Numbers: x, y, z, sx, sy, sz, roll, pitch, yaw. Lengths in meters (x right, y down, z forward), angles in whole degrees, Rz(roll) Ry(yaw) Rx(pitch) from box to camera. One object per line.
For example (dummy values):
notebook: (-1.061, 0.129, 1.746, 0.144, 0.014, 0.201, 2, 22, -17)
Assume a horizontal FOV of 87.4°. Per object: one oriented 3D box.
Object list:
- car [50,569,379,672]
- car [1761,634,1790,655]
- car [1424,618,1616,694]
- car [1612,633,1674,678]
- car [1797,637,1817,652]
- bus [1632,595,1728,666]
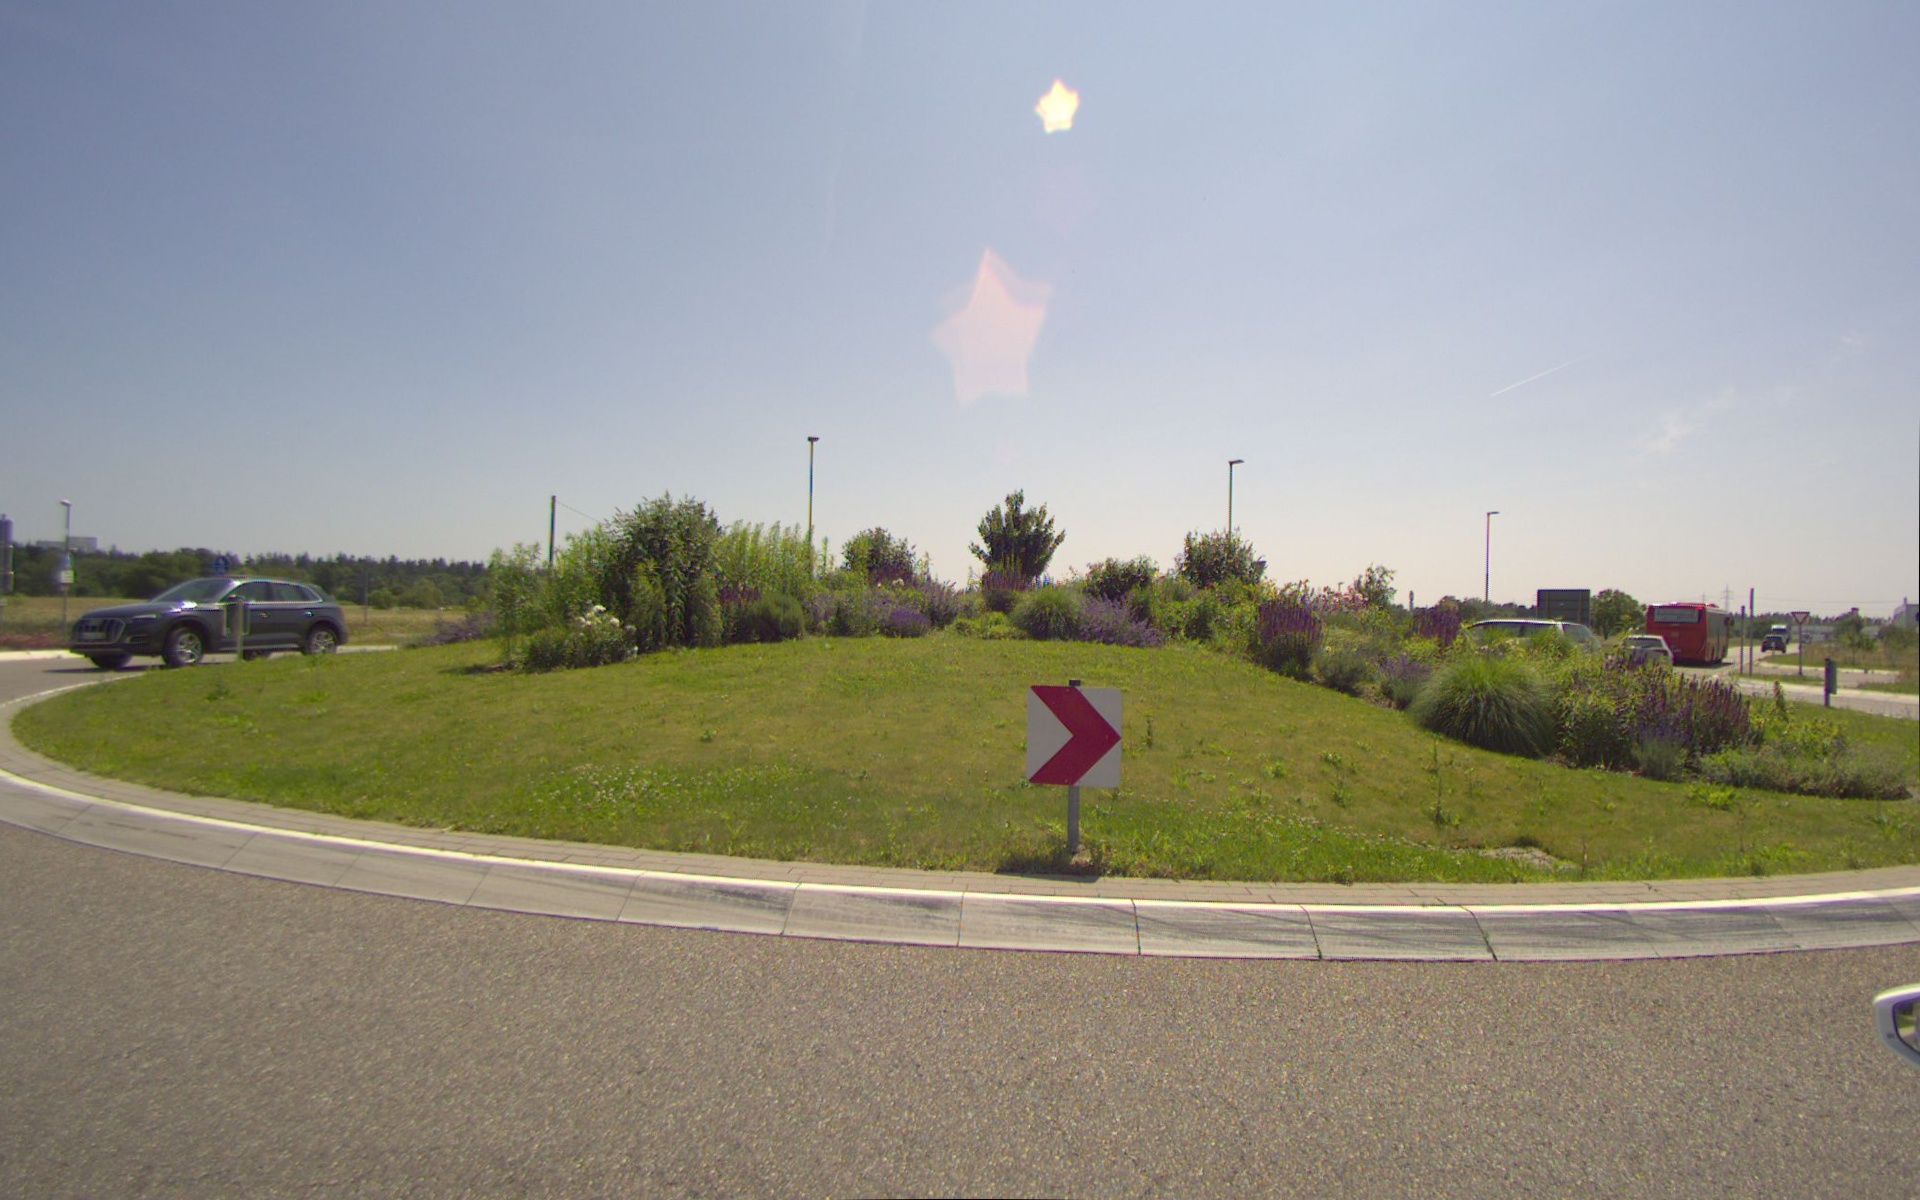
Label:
car: (-13.890, 0.321, 19.168, 1.914, 1.671, 4.891, 1, 0, 16)
car: (78.949, 4.306, 97.219, 1.972, 1.951, 3.978, 0, -1, 43)
car: (13.845, 1.338, 25.081, 1.752, 1.696, 3.980, 2, -1, -21)
car: (24.776, 1.976, 36.518, 1.699, 1.483, 3.593, 1, -1, 32)
car: (115.936, 6.061, 137.511, 1.970, 1.871, 4.152, 1, -1, 40)
bus: (38.498, 1.629, 53.473, 3.264, 3.352, 11.935, 1, -1, 40)
